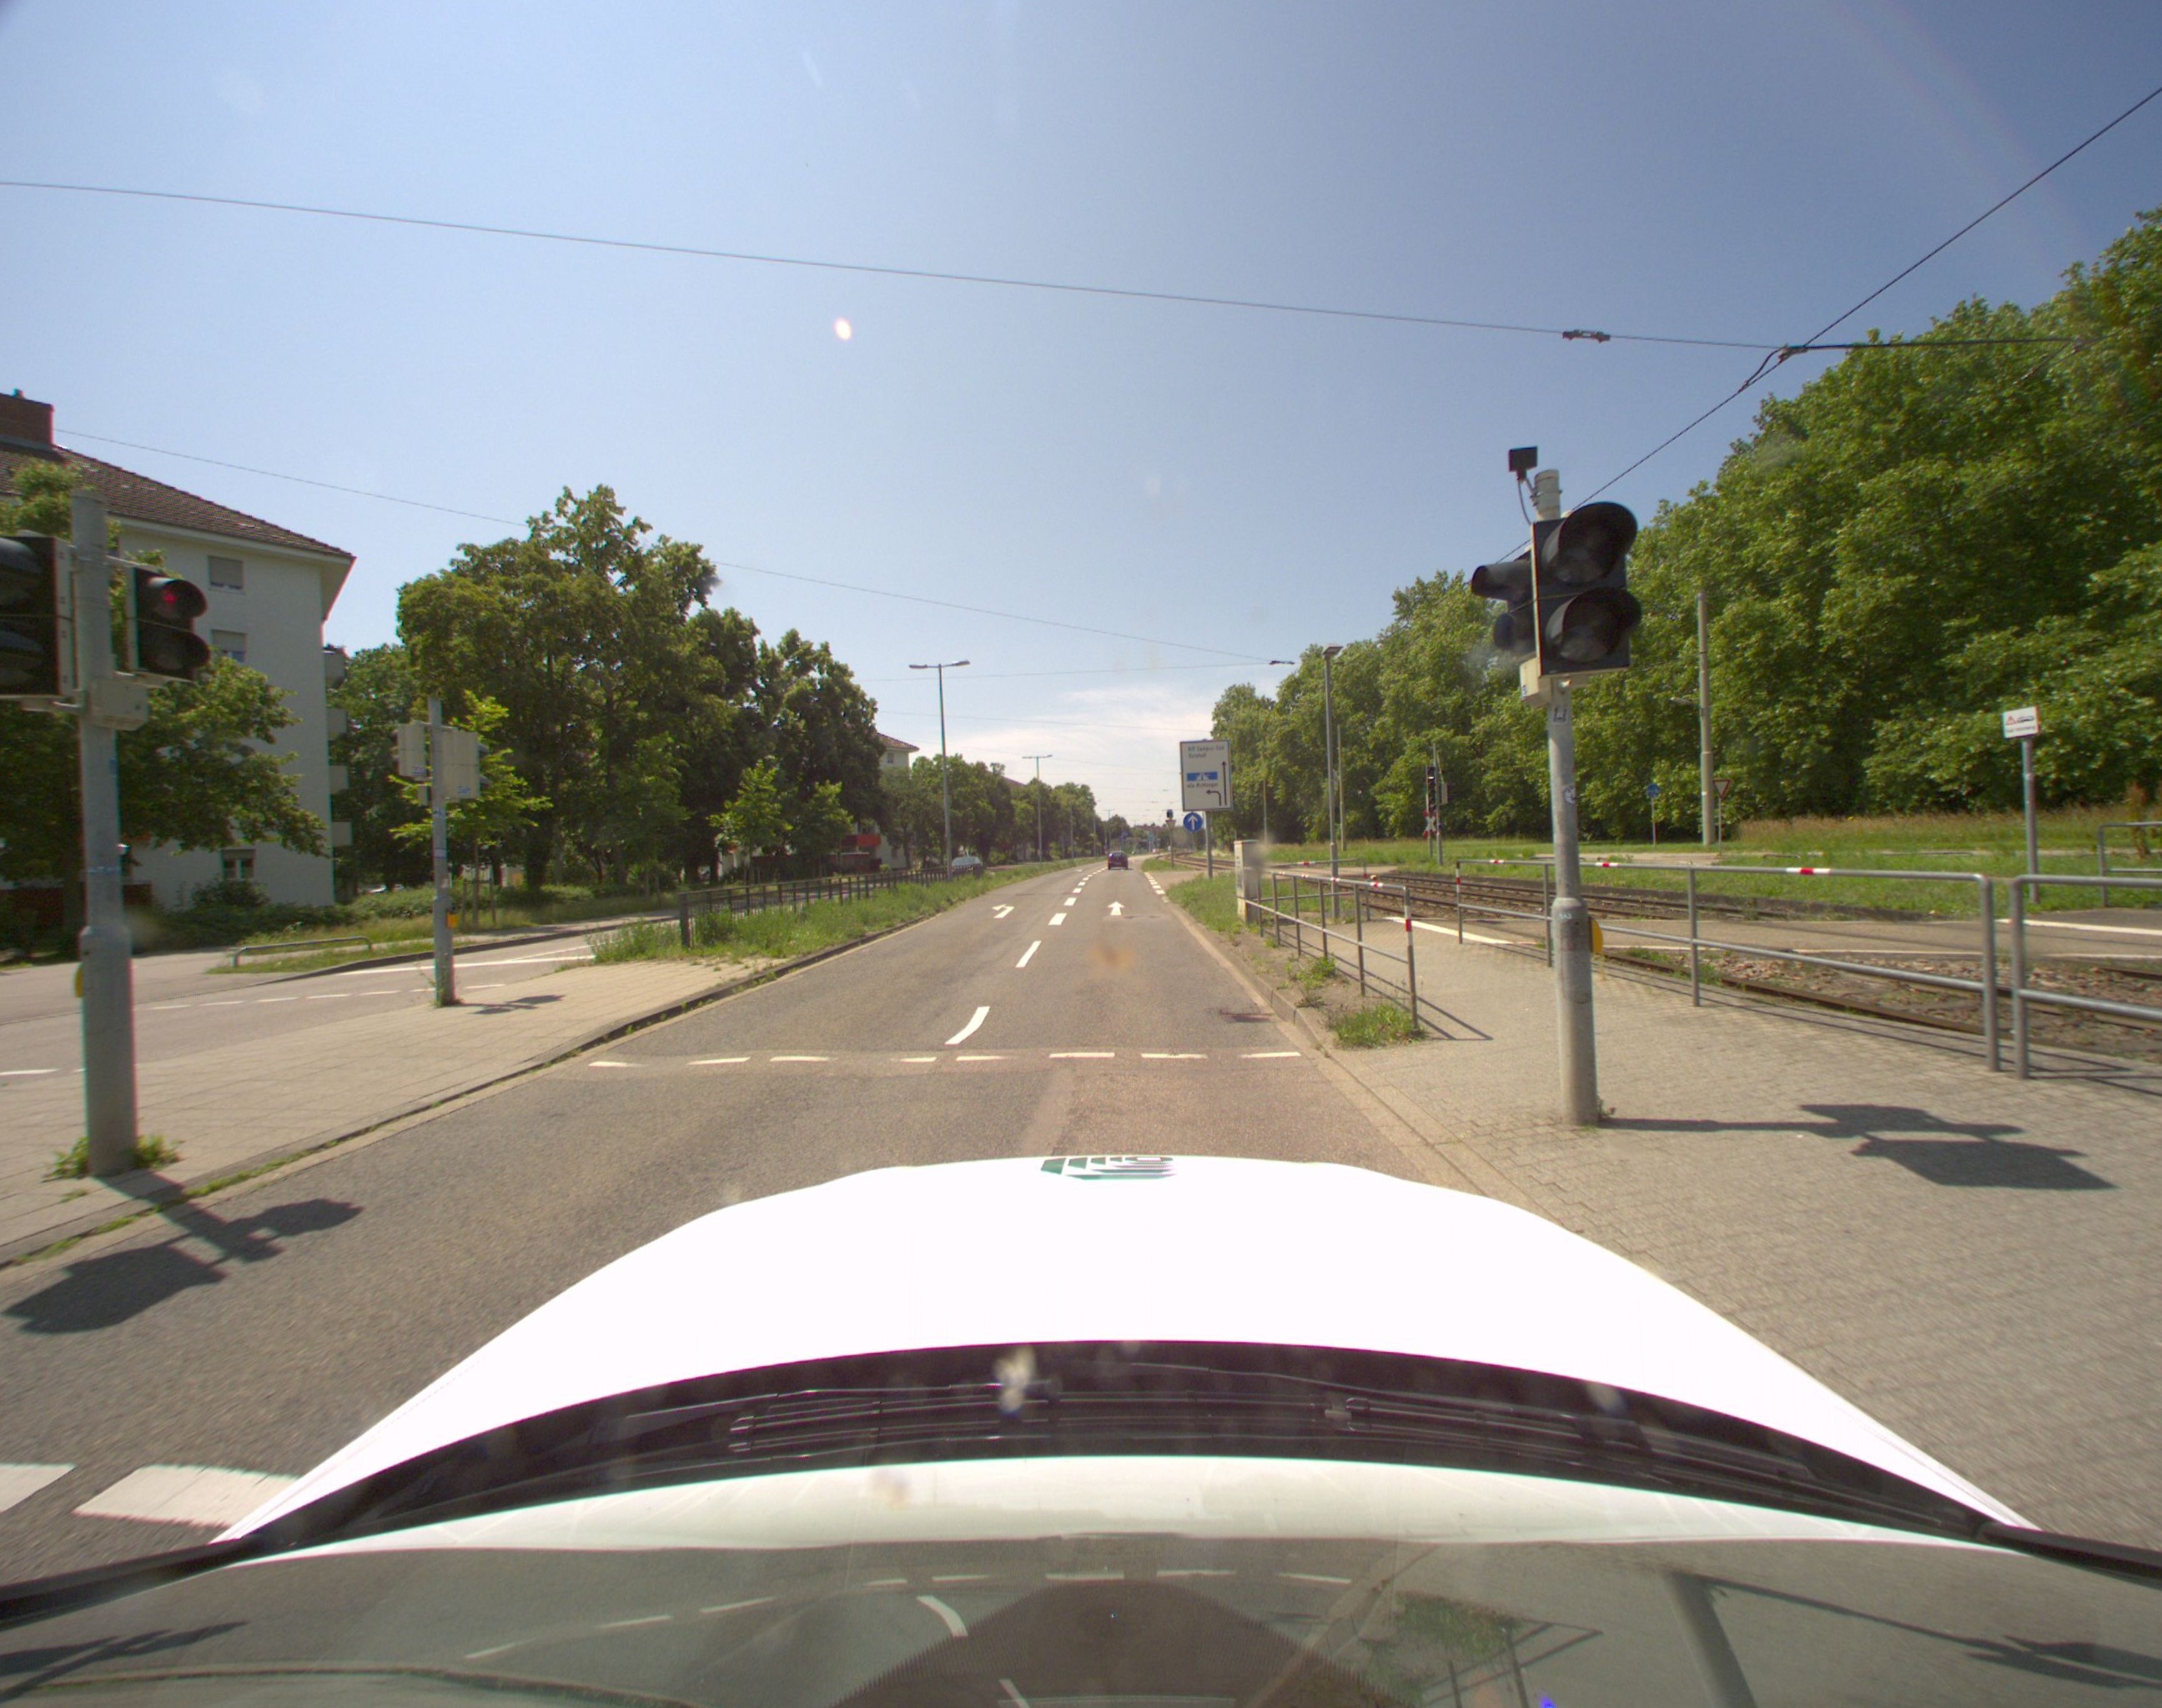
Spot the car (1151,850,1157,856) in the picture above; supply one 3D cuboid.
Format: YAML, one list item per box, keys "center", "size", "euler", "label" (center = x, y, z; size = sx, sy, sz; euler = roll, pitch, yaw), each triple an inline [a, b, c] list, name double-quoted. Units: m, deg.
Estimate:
- center: [20.278, -0.297, 225.553]
  size: [1.695, 1.480, 3.721]
  euler: [-1, 0, 5]
  label: "car"

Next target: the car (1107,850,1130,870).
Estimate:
- center: [3.060, 0.503, 66.217]
  size: [1.696, 1.477, 3.719]
  euler: [-3, 0, 3]
  label: "car"

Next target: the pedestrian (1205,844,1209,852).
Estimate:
- center: [25.147, -1.195, 162.333]
  size: [0.658, 1.726, 0.818]
  euler: [-3, 0, 9]
  label: "pedestrian"

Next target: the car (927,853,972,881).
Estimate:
- center: [-7.849, 0.742, 49.060]
  size: [1.749, 1.543, 4.165]
  euler: [-3, 0, 3]
  label: "car"
